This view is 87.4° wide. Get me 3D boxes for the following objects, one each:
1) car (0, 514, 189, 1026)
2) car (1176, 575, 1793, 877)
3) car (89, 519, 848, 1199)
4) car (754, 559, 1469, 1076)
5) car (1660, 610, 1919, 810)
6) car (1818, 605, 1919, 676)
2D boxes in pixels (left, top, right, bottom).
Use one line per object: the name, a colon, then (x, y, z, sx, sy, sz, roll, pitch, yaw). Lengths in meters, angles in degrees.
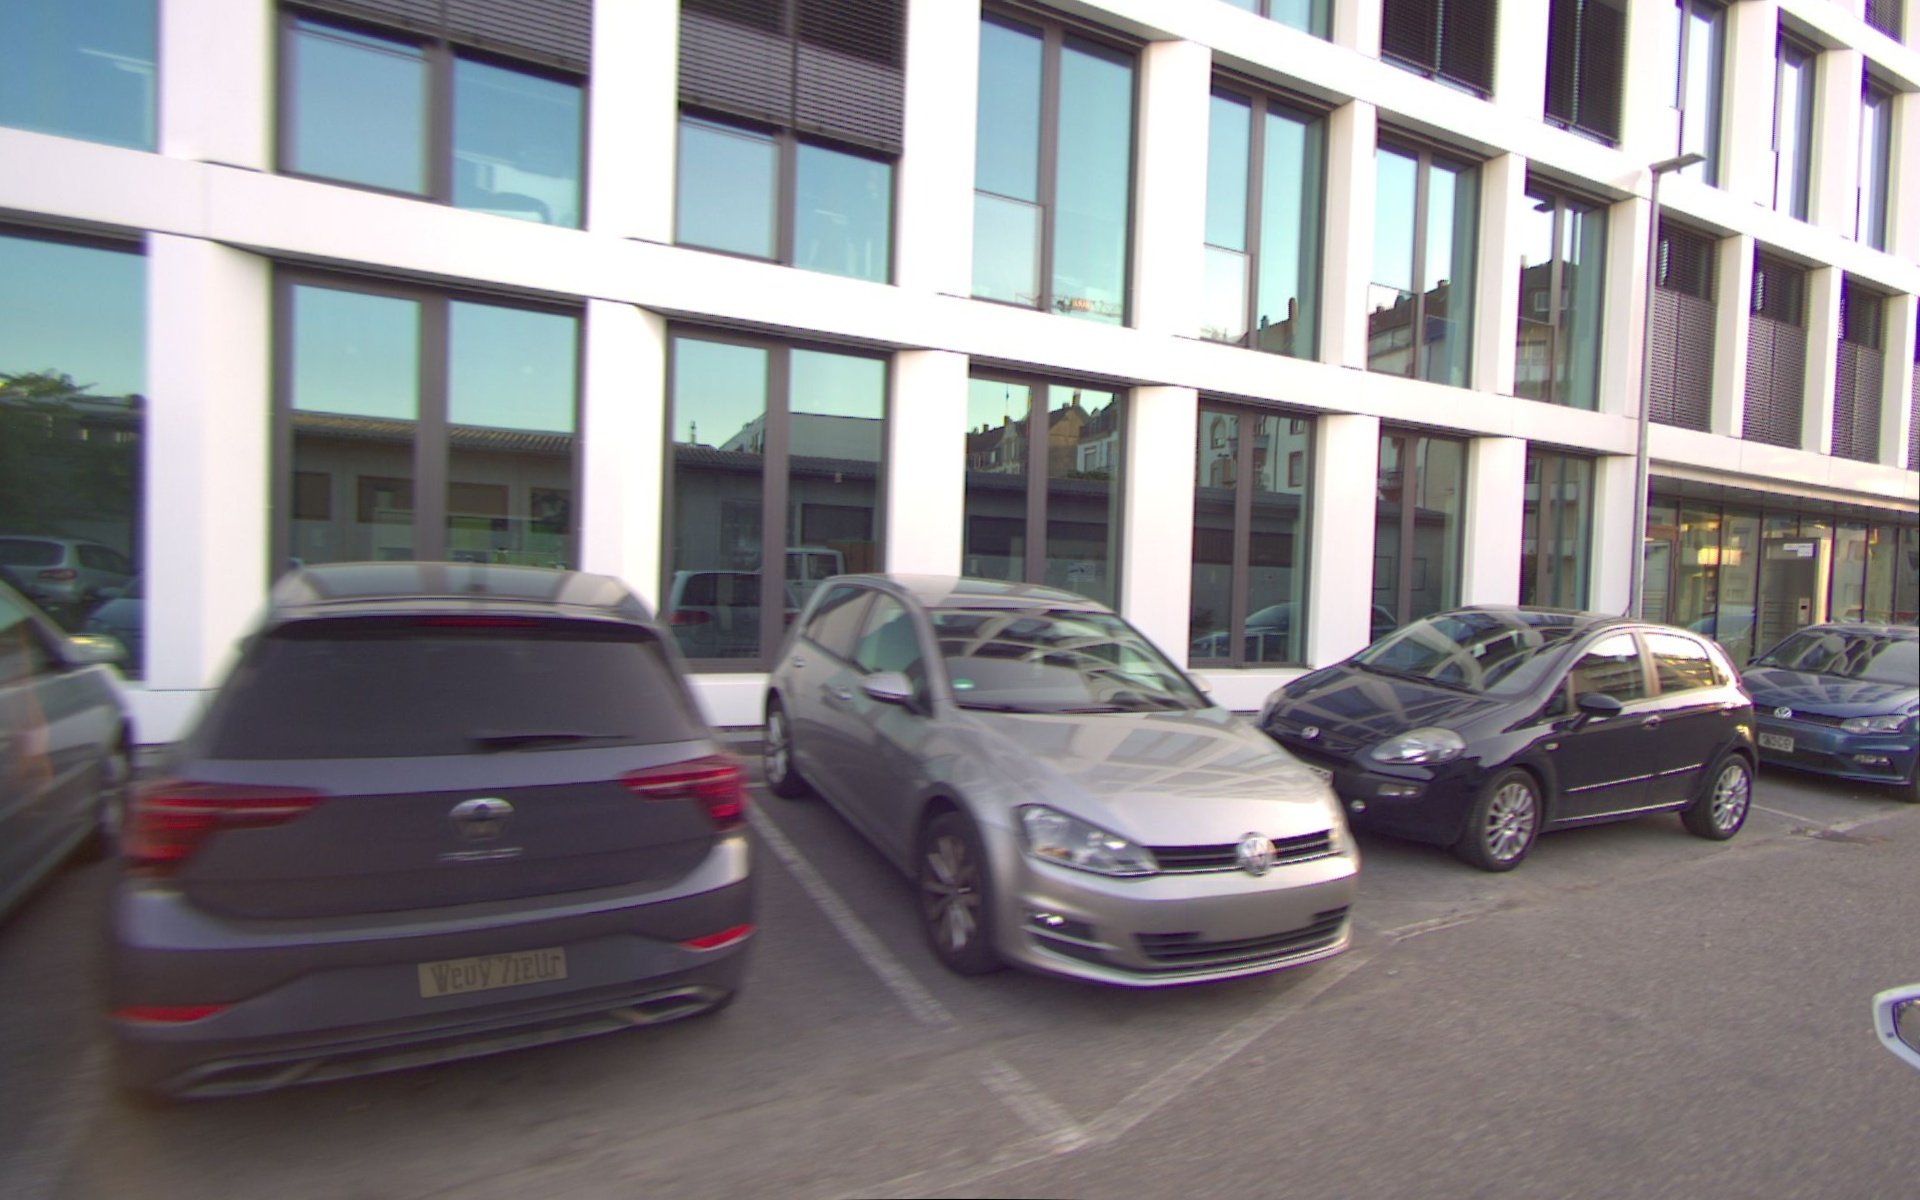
car: (-3.835, 0.474, 3.080, 1.666, 1.532, 3.640, 1, 2, -27)
car: (3.666, 0.678, 6.876, 4.150, 1.458, 1.640, 1, 5, -29)
car: (-1.890, 0.524, 4.107, 1.666, 1.532, 3.640, 1, 2, -27)
car: (0.278, 0.599, 5.155, 1.665, 1.532, 3.912, 1, 2, -26)
car: (8.832, 0.926, 9.800, 4.136, 1.458, 1.639, 1, 5, -31)
car: (23.570, 1.056, 25.185, 4.281, 1.570, 1.771, 4, 0, -30)
